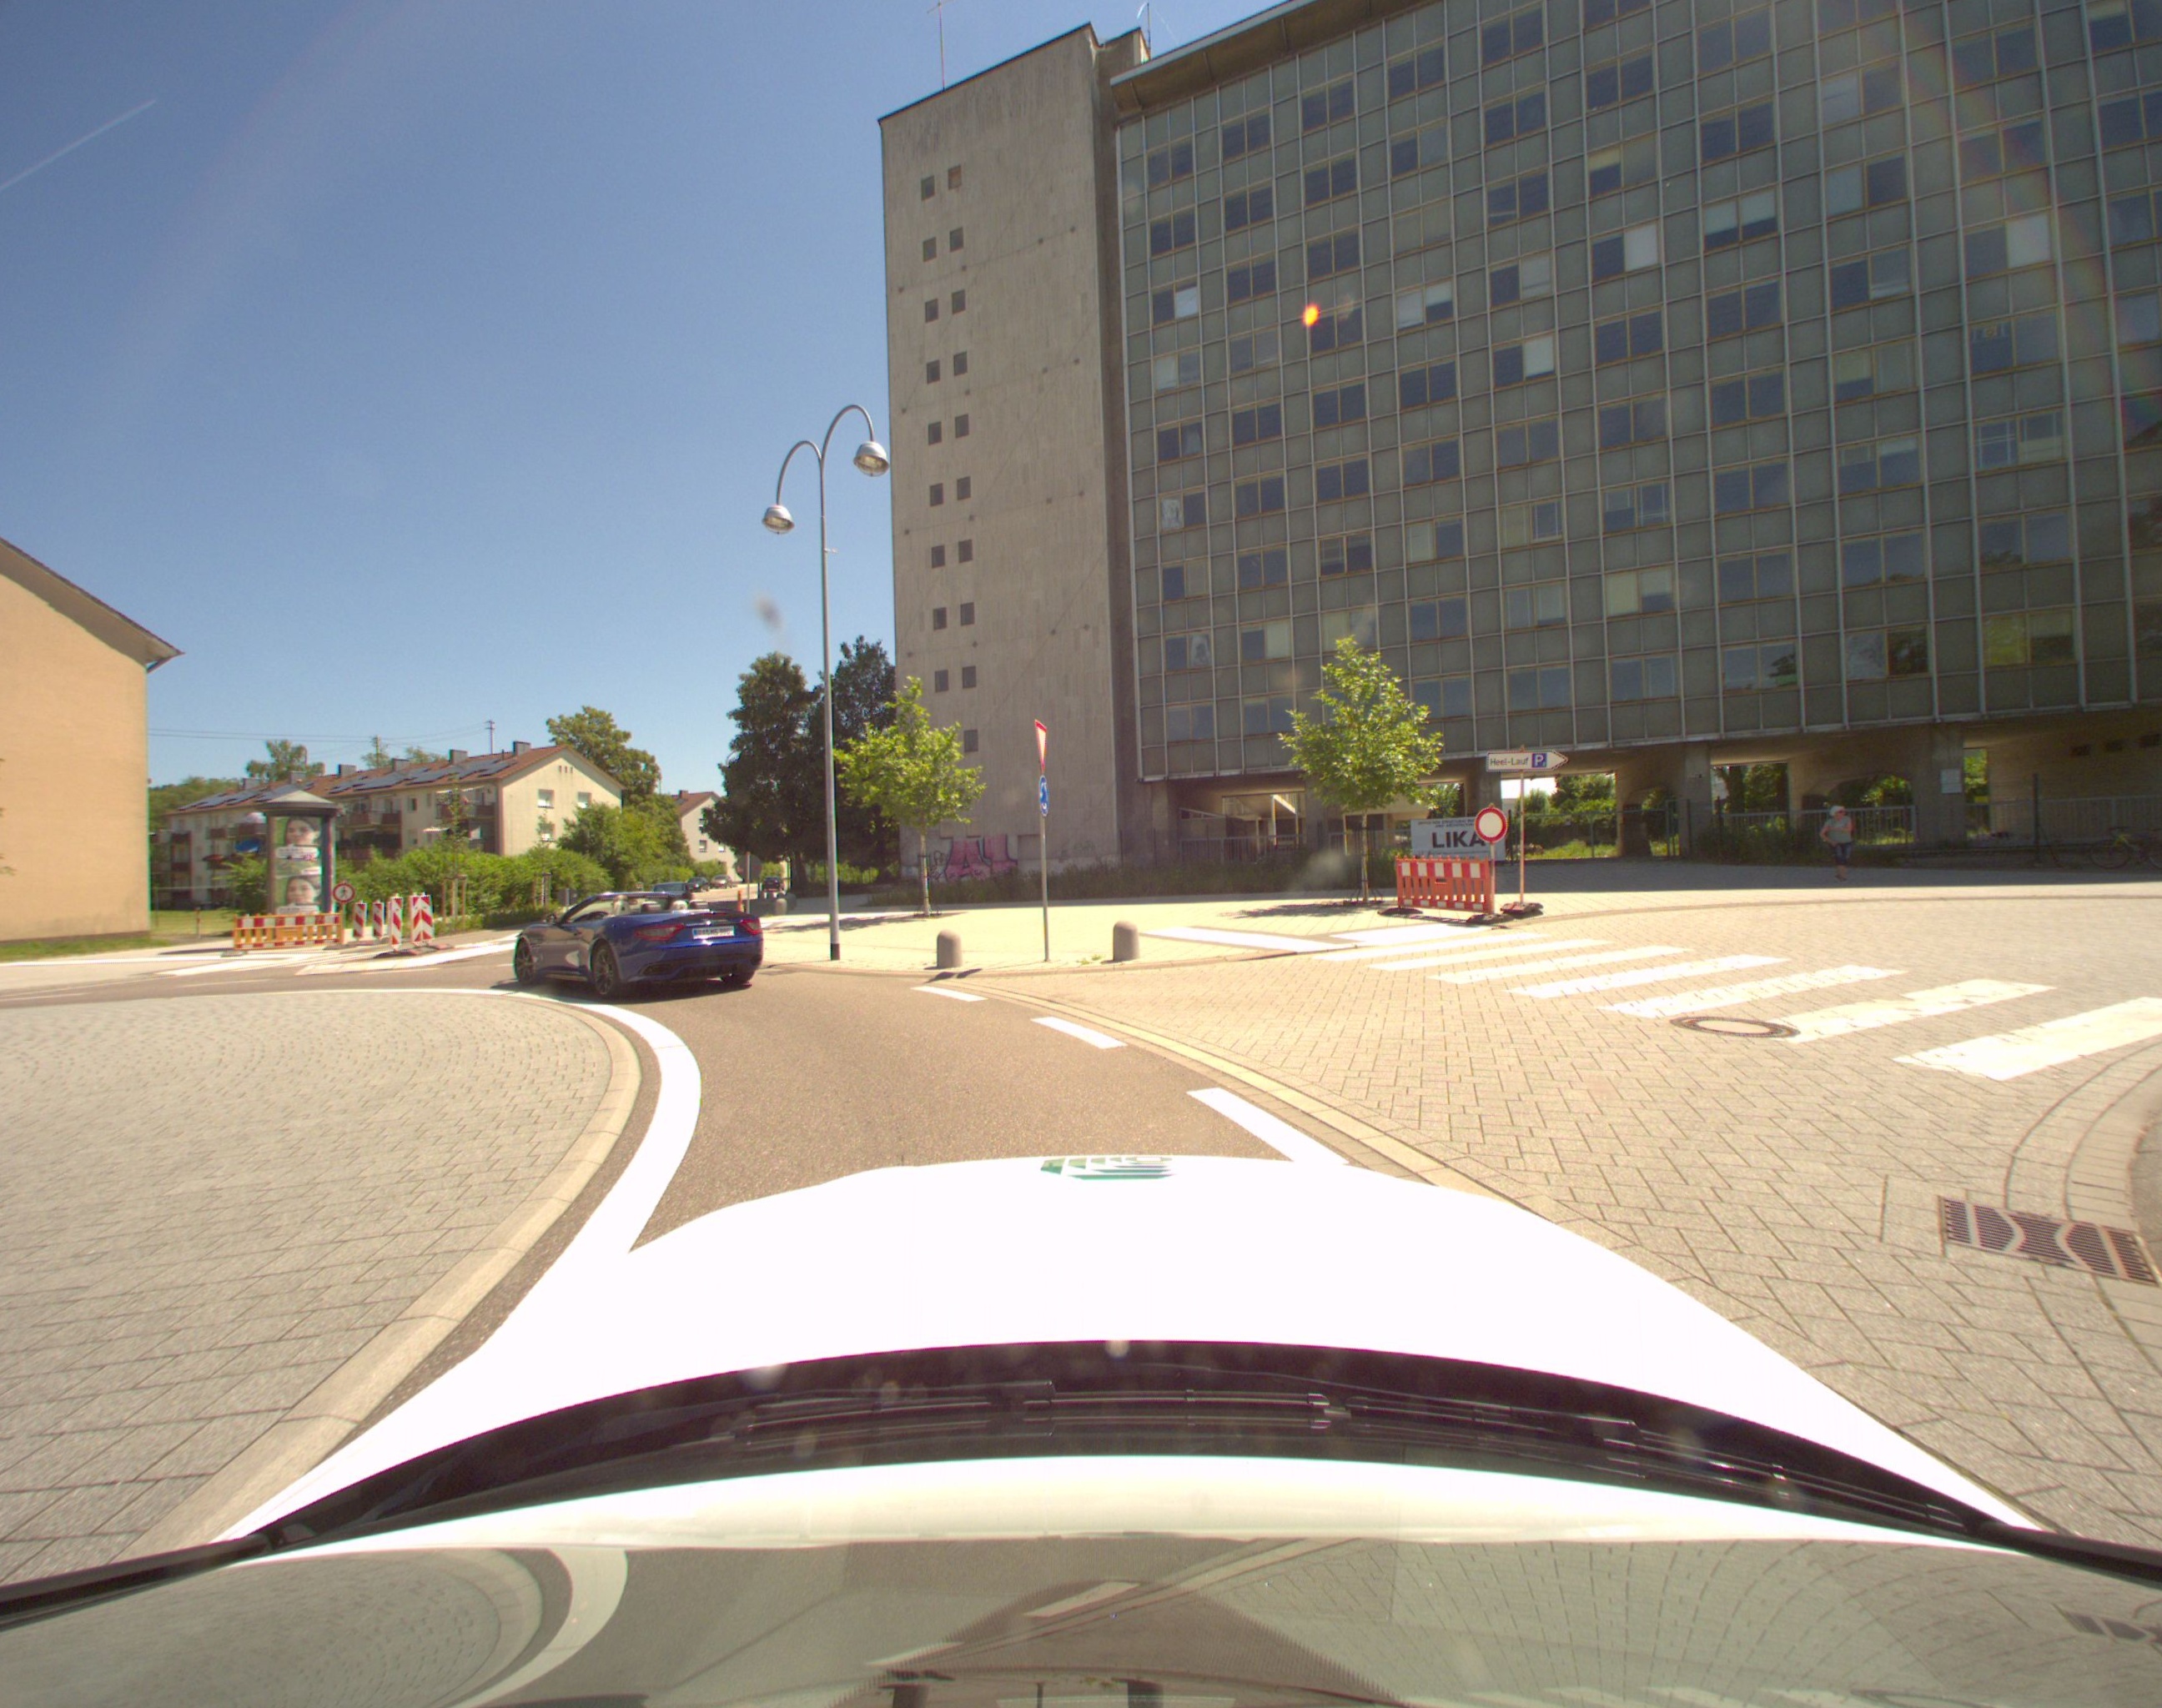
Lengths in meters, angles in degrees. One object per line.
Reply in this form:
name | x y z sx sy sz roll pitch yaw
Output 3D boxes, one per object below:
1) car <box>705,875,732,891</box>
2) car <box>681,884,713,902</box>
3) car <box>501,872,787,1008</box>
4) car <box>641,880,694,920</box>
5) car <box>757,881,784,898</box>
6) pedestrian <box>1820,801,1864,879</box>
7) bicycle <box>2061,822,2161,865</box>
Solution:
car | -39.368 3.124 88.529 1.739 1.436 3.698 -4 0 -10
car | -36.536 3.685 77.568 1.739 1.436 3.698 -4 0 -10
car | -6.279 1.149 11.494 4.448 1.530 1.889 -5 -3 38
car | -17.354 1.867 34.296 1.747 1.436 3.680 -4 0 -25
car | -30.126 3.418 79.066 1.739 1.436 3.697 -4 0 -11
pedestrian | 16.978 -0.317 18.175 0.559 1.708 0.490 -3 2 29
bicycle | 23.319 -0.223 18.312 0.445 0.907 1.755 -3 0 2
